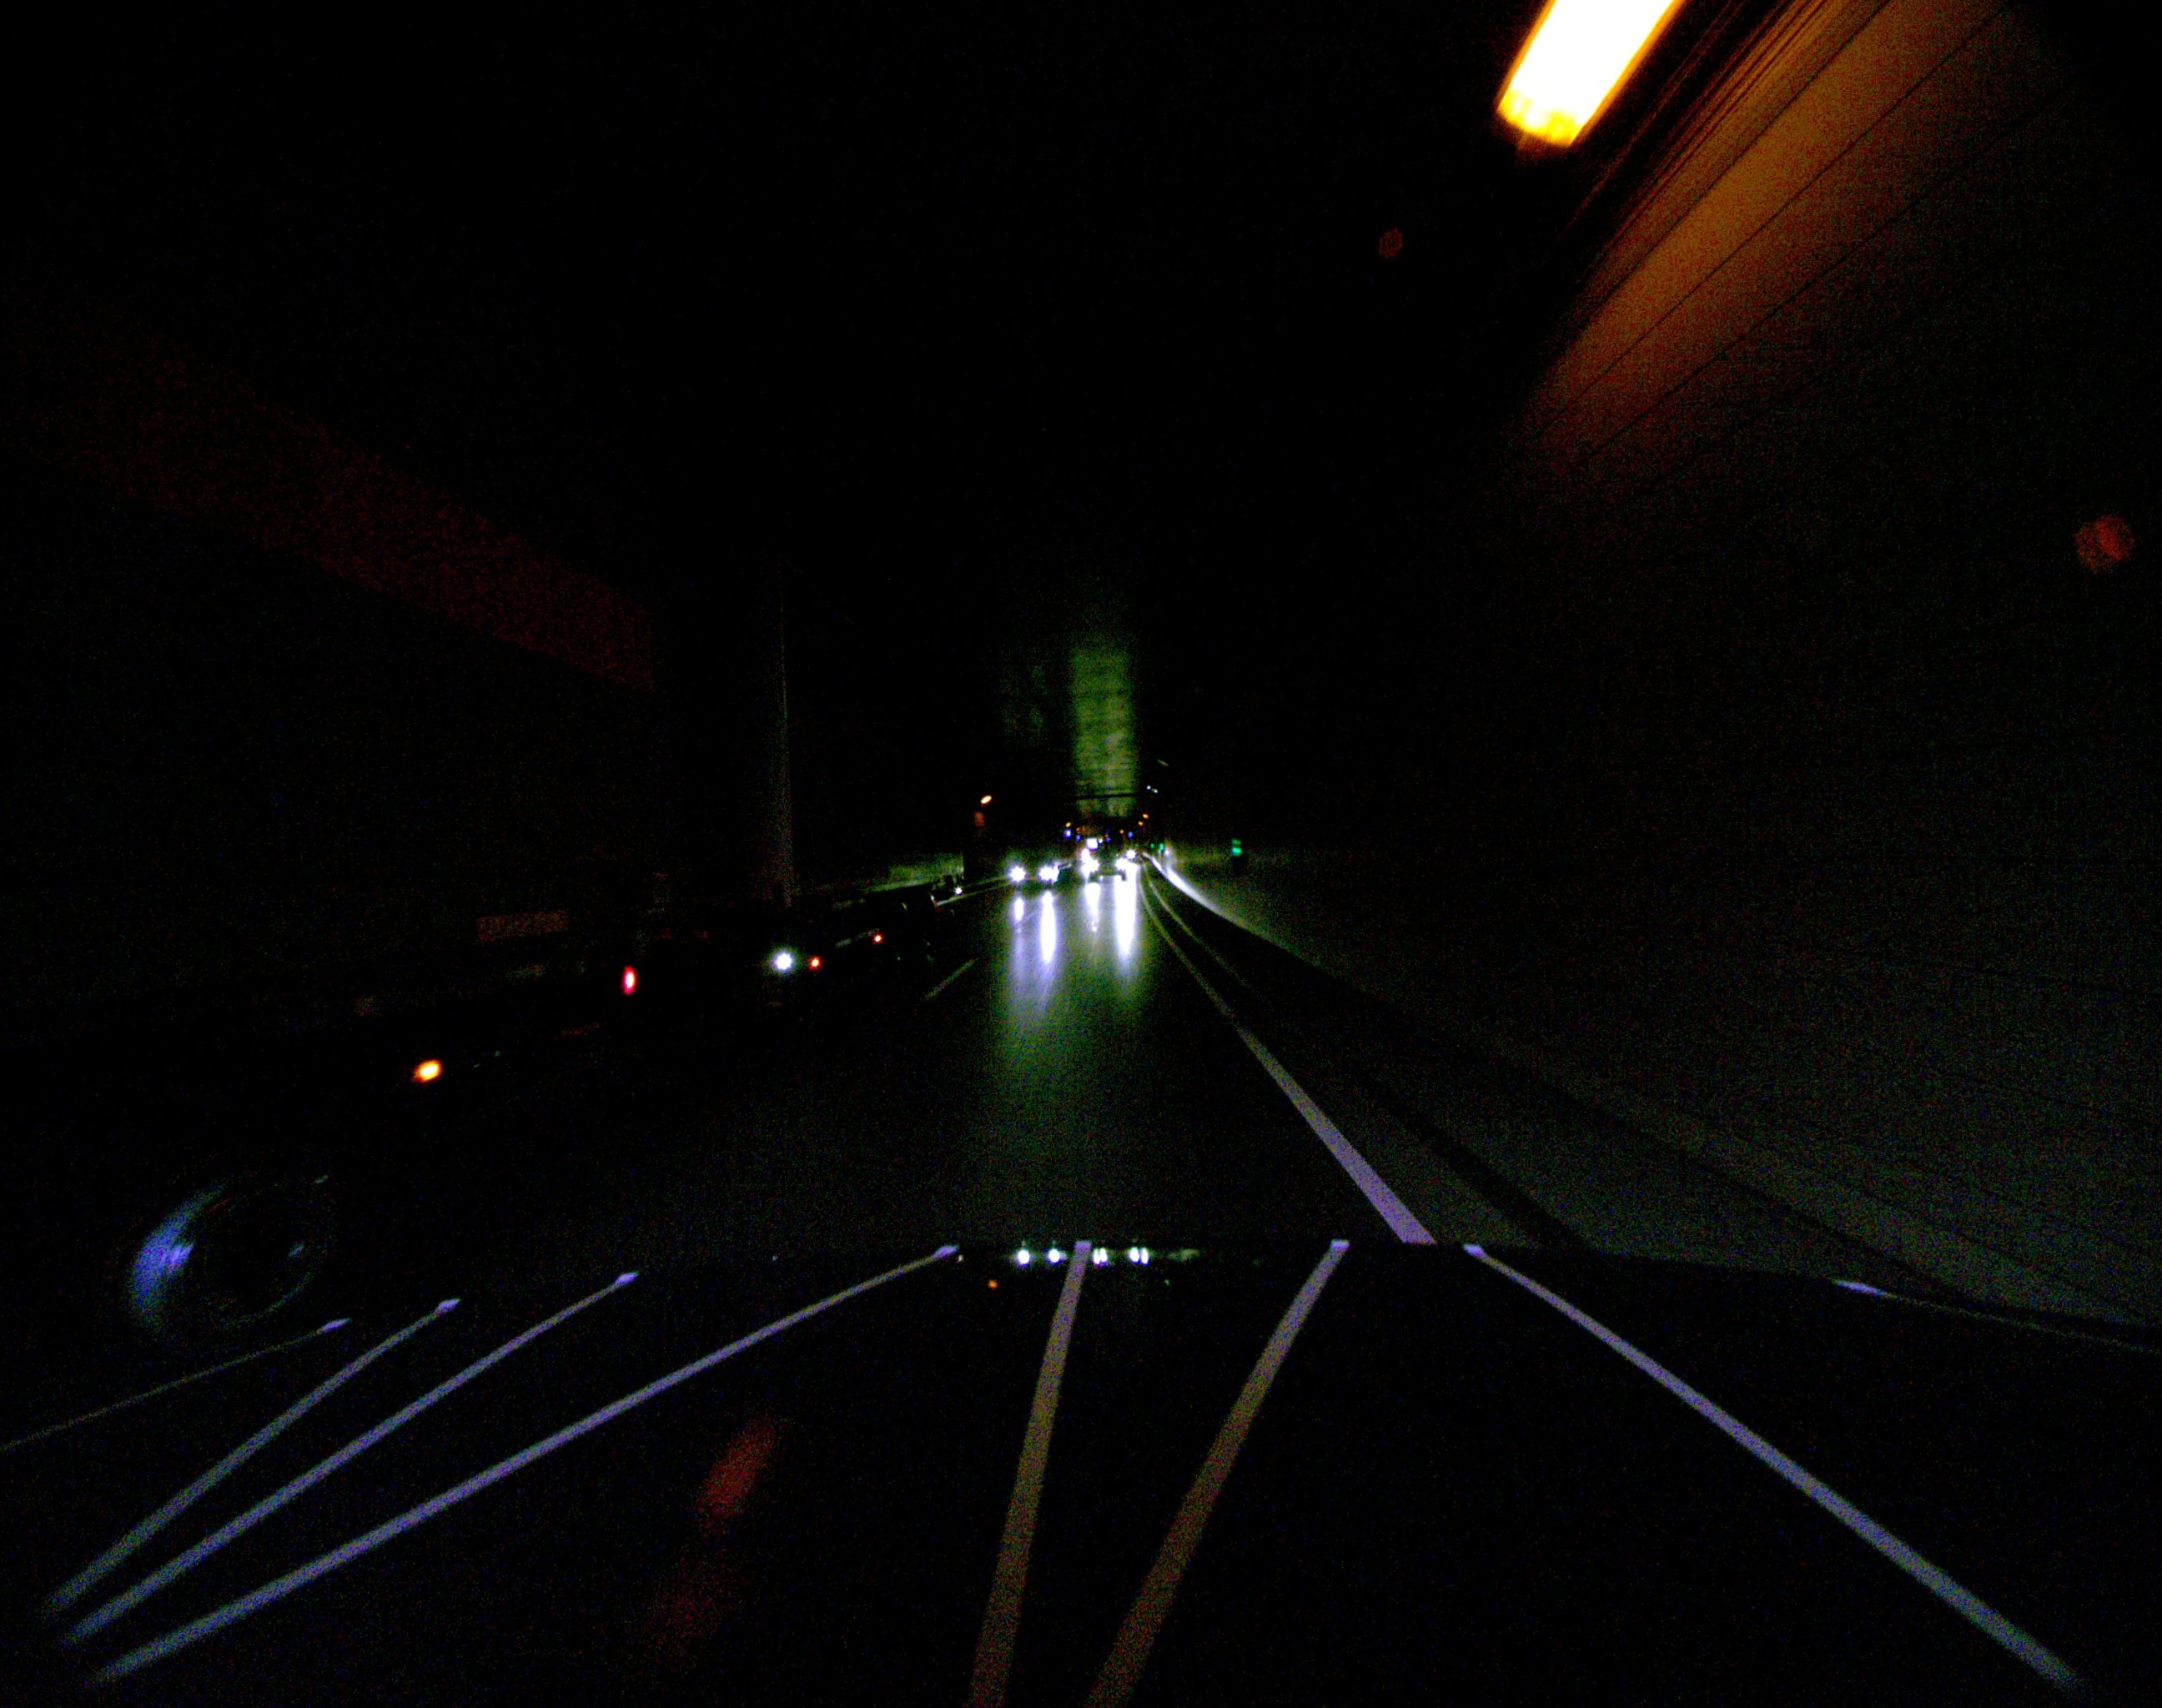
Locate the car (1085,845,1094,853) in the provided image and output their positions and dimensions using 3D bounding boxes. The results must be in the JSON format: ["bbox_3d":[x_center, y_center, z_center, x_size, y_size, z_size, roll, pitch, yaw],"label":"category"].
[{"bbox_3d":[2.054,-1.255,181.480,1.998,1.674,4.000,-3,1,2],"label":"car"}]

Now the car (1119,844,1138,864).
[{"bbox_3d":[4.658,-0.022,74.031,1.714,1.729,4.000,-3,2,5],"label":"car"}]

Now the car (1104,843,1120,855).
[{"bbox_3d":[4.444,-0.684,107.165,1.998,1.576,4.652,-3,1,4],"label":"car"}]

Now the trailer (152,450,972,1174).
[{"bbox_3d":[-3.487,-0.205,8.635,2.882,3.835,8.948,-3,0,1],"label":"trailer"}]

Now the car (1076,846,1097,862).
[{"bbox_3d":[0.611,-0.011,80.643,1.735,1.565,4.001,-4,0,5],"label":"car"}]

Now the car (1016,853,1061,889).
[{"bbox_3d":[-1.899,0.732,34.618,1.735,1.395,3.798,-3,1,0],"label":"car"}]

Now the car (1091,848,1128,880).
[{"bbox_3d":[1.591,0.500,40.544,1.819,1.589,4.001,-1,0,4],"label":"car"}]
